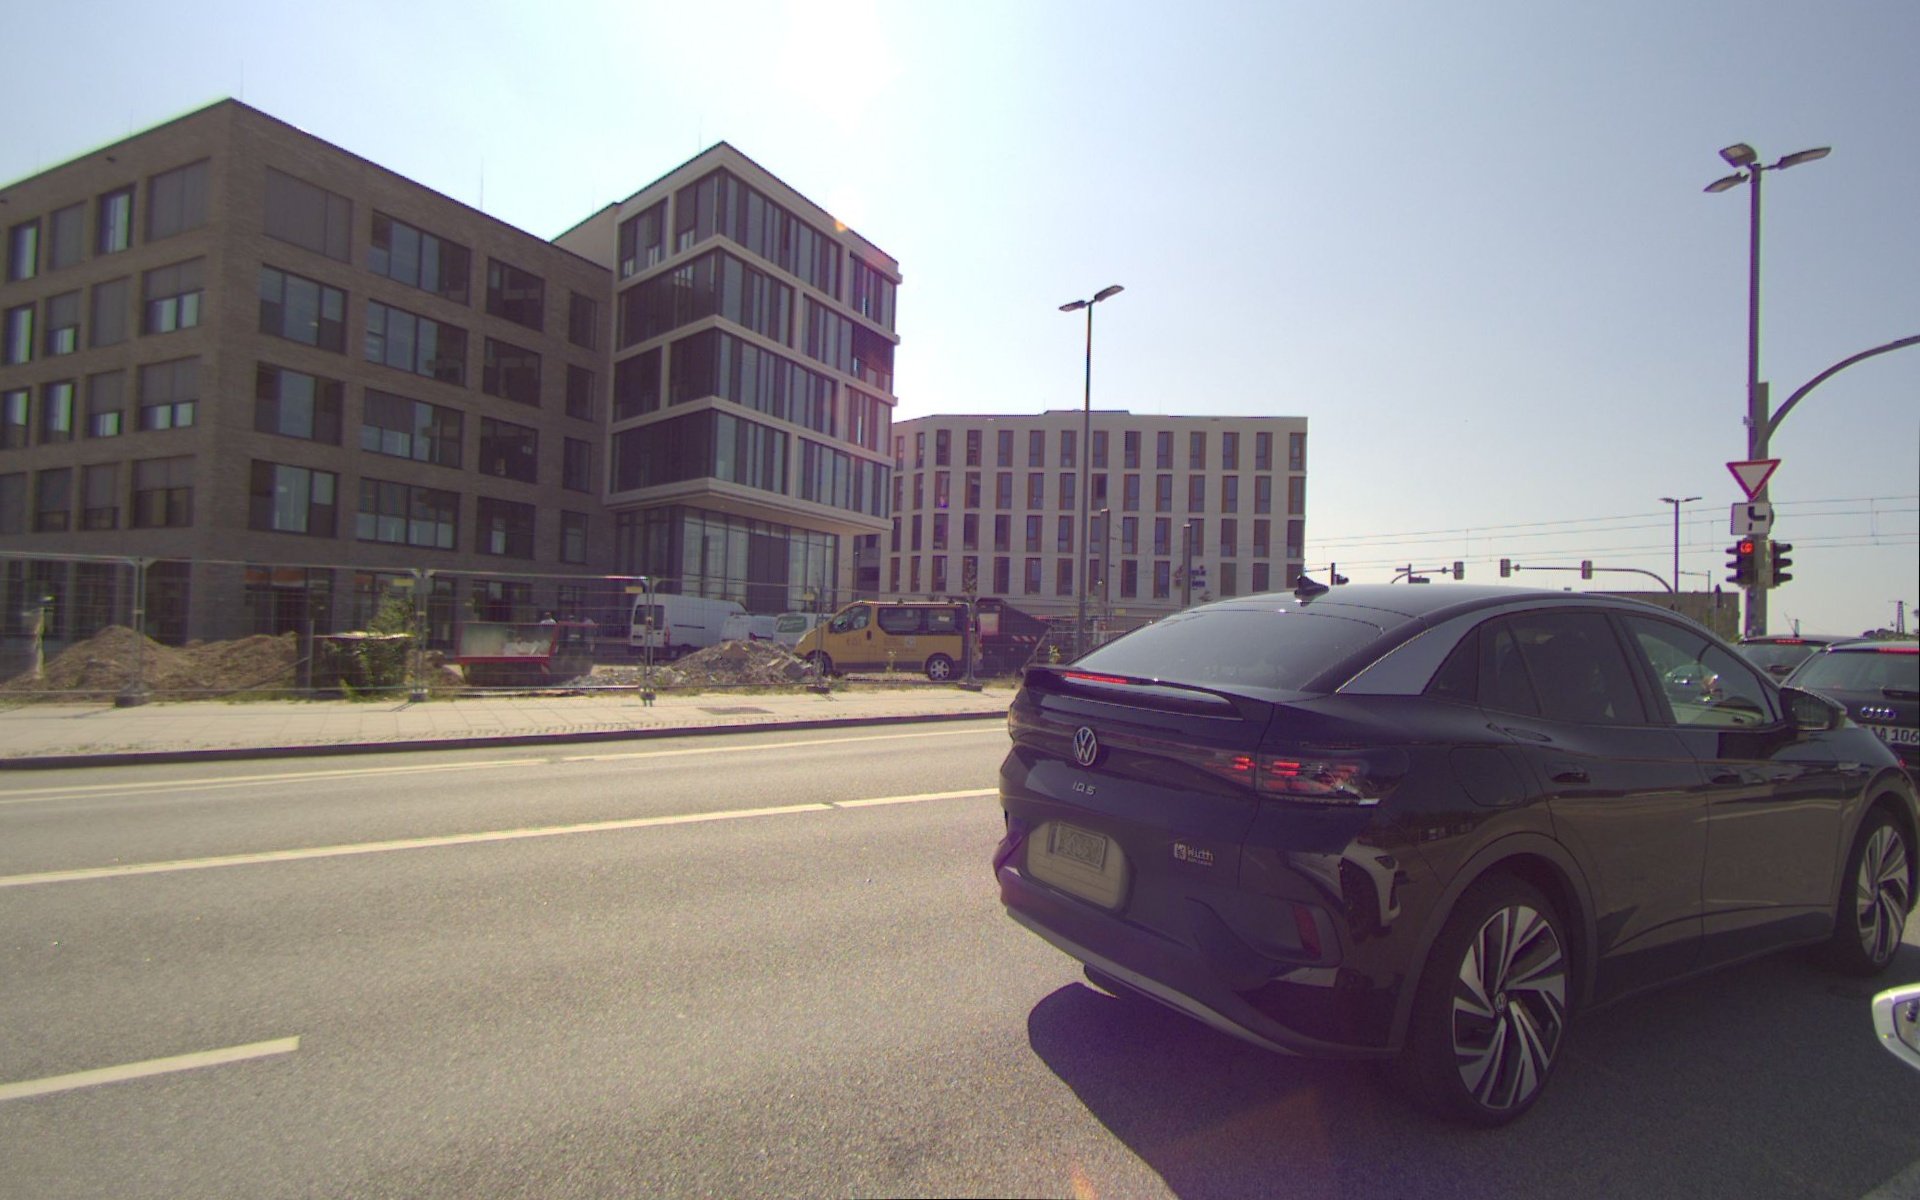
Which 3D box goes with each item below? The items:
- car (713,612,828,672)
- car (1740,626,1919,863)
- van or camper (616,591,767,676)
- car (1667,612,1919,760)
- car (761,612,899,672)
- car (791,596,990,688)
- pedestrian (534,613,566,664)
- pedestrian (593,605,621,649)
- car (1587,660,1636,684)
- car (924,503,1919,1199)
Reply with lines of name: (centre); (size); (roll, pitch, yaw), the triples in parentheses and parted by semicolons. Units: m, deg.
car: (-6.511, 1.425, 34.956); (1.759, 1.881, 3.842); (2, 0, 32)
car: (7.570, 0.988, 7.408); (3.742, 1.453, 1.567); (2, 0, -30)
van or camper: (-9.637, 1.185, 36.448); (2.273, 2.772, 4.974); (2, 0, 33)
car: (10.676, 1.015, 12.612); (3.720, 1.568, 1.589); (2, 0, -32)
car: (-4.254, 1.371, 33.649); (1.841, 1.797, 4.636); (2, 0, 37)
car: (-1.678, 1.004, 25.124); (4.533, 1.988, 1.991); (2, 0, 10)
pedestrian: (-14.544, 1.350, 35.661); (0.734, 1.741, 0.699); (2, 0, 17)
pedestrian: (-14.203, 1.077, 40.368); (0.734, 1.741, 0.699); (2, 0, 17)
car: (41.106, 4.531, 63.438); (1.787, 1.348, 4.000); (2, -2, 21)
car: (2.189, 0.669, 4.238); (4.314, 1.663, 1.793); (2, 0, -30)
